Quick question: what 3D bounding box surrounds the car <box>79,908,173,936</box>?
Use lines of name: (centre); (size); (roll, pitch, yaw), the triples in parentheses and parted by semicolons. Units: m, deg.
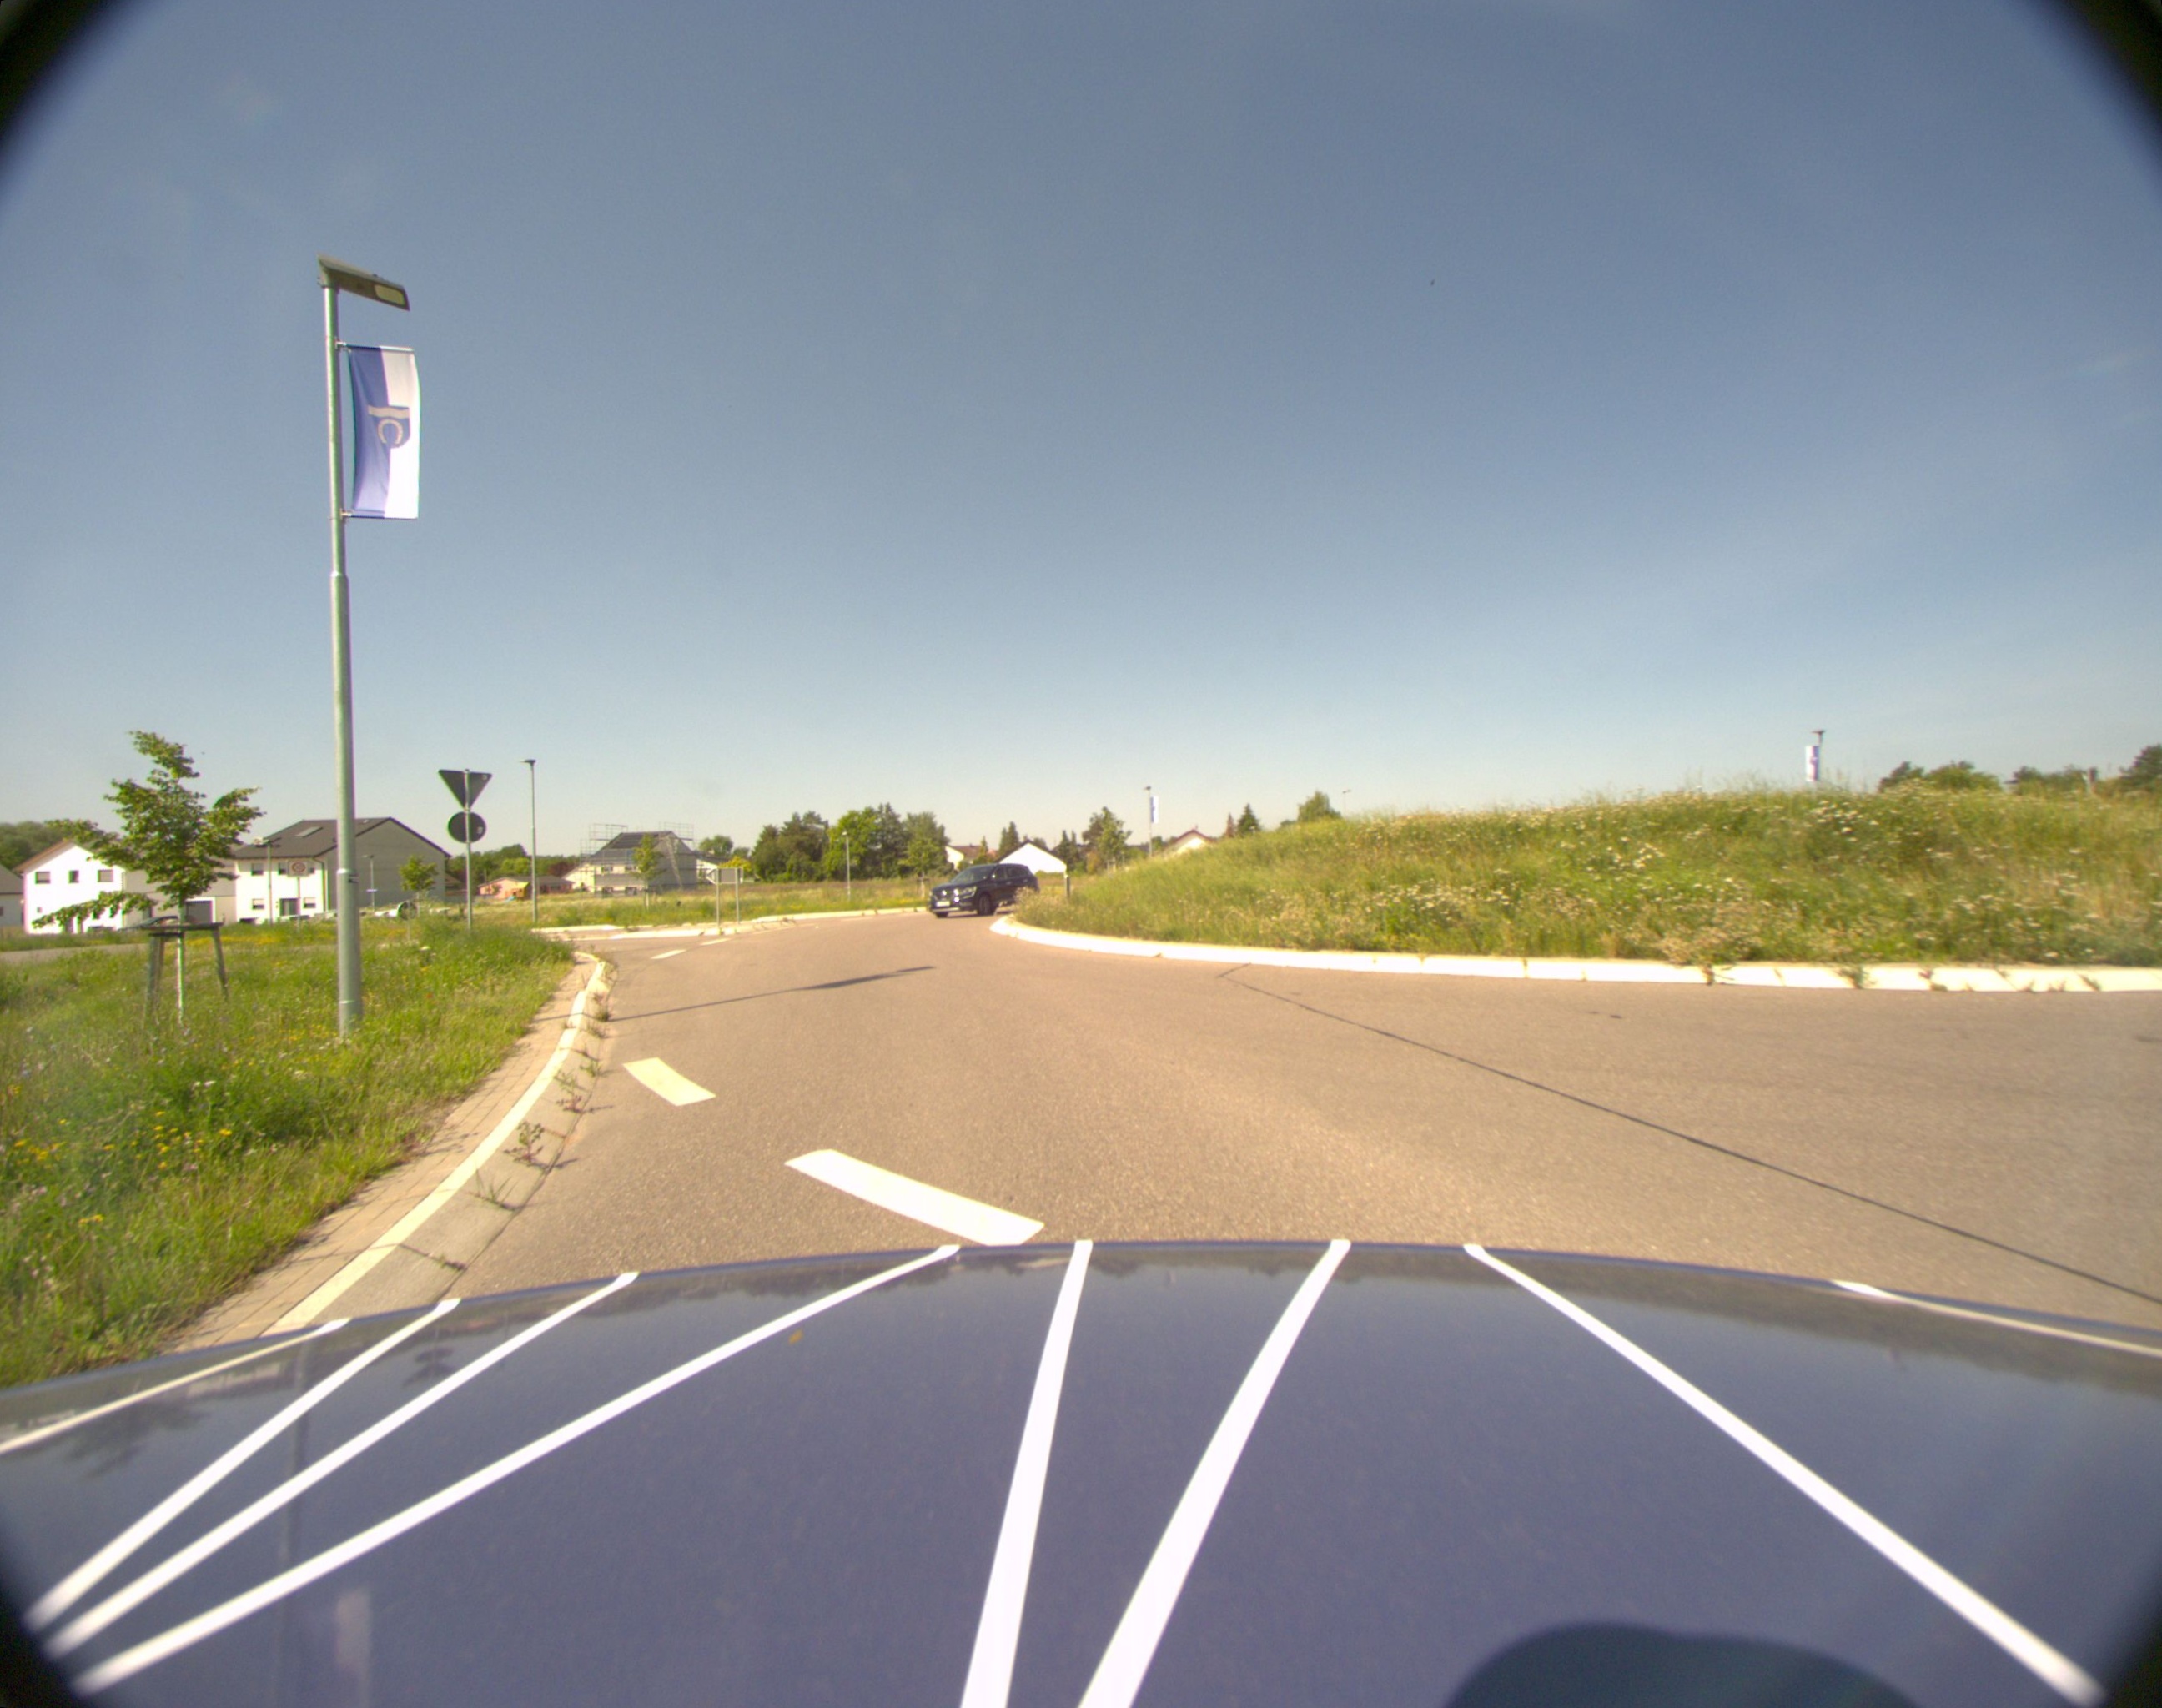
car: (-73.485, 5.195, 58.557); (1.997, 1.783, 4.002); (-3, 0, 7)

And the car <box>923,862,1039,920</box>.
car: (-3.155, 1.159, 24.904); (1.777, 1.632, 4.146); (-3, -1, 24)
